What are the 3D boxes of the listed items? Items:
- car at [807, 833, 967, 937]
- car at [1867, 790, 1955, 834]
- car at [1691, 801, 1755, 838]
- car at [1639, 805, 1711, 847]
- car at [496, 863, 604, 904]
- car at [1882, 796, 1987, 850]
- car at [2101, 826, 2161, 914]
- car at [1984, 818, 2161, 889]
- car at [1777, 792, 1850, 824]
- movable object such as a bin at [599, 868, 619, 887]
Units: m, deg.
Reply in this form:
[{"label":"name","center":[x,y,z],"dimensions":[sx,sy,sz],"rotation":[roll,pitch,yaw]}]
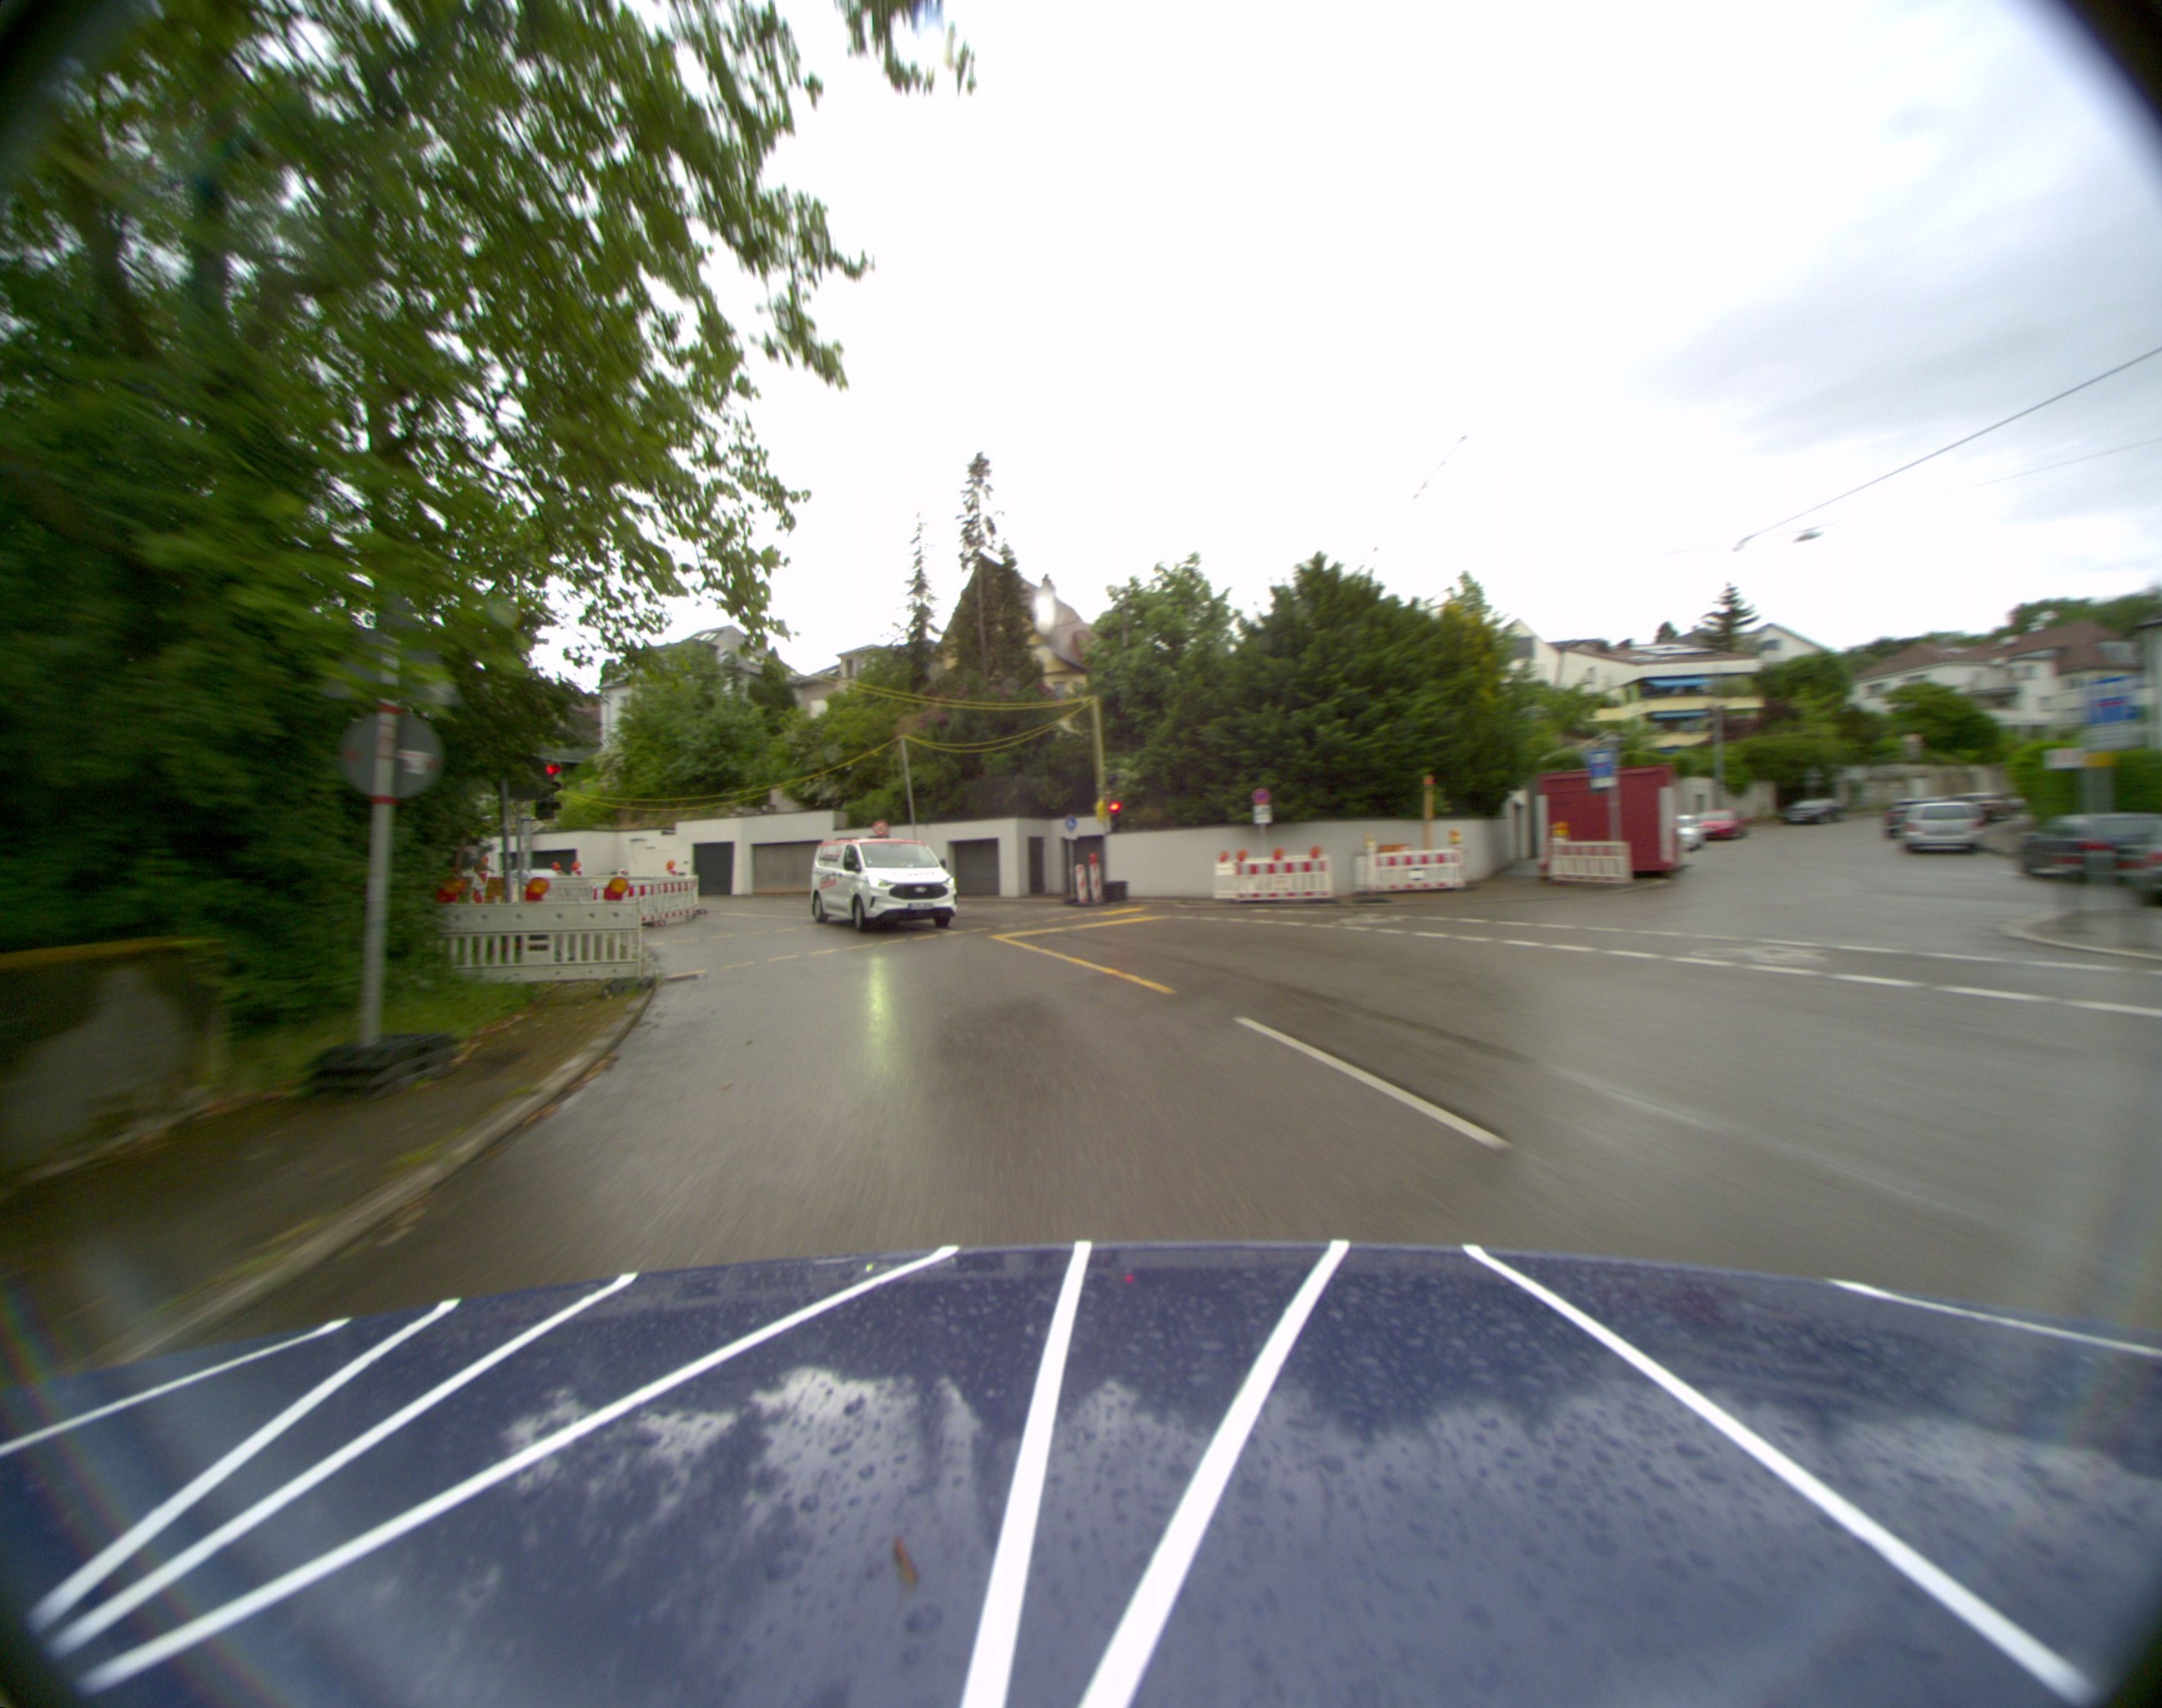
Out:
[{"label":"car","center":[-4.542,0.638,17.166],"dimensions":[2.003,2.001,4.937],"rotation":[-1,-1,-33]},{"label":"car","center":[35.763,-1.836,32.857],"dimensions":[1.994,1.697,4.006],"rotation":[0,4,40]},{"label":"car","center":[31.702,-1.632,37.476],"dimensions":[4.008,1.652,1.869],"rotation":[0,1,-42]},{"label":"car","center":[25.482,-1.219,32.533],"dimensions":[1.994,1.653,4.007],"rotation":[0,3,44]},{"label":"car","center":[-22.620,1.237,32.384],"dimensions":[3.990,1.576,2.003],"rotation":[-2,1,25]},{"label":"car","center":[29.314,-1.087,26.225],"dimensions":[1.869,1.653,4.006],"rotation":[0,4,41]},{"label":"car","center":[18.490,0.199,12.461],"dimensions":[4.212,1.259,1.671],"rotation":[-3,2,-43]},{"label":"car","center":[22.061,-0.070,16.892],"dimensions":[1.671,1.394,4.212],"rotation":[-1,1,37]},{"label":"car","center":[42.871,-2.680,44.471],"dimensions":[4.005,1.484,1.879],"rotation":[-5,-1,-29]},{"label":"movable object such as a bin","center":[-23.731,1.193,38.209],"dimensions":[0.767,0.925,0.509],"rotation":[0,1,24]}]
